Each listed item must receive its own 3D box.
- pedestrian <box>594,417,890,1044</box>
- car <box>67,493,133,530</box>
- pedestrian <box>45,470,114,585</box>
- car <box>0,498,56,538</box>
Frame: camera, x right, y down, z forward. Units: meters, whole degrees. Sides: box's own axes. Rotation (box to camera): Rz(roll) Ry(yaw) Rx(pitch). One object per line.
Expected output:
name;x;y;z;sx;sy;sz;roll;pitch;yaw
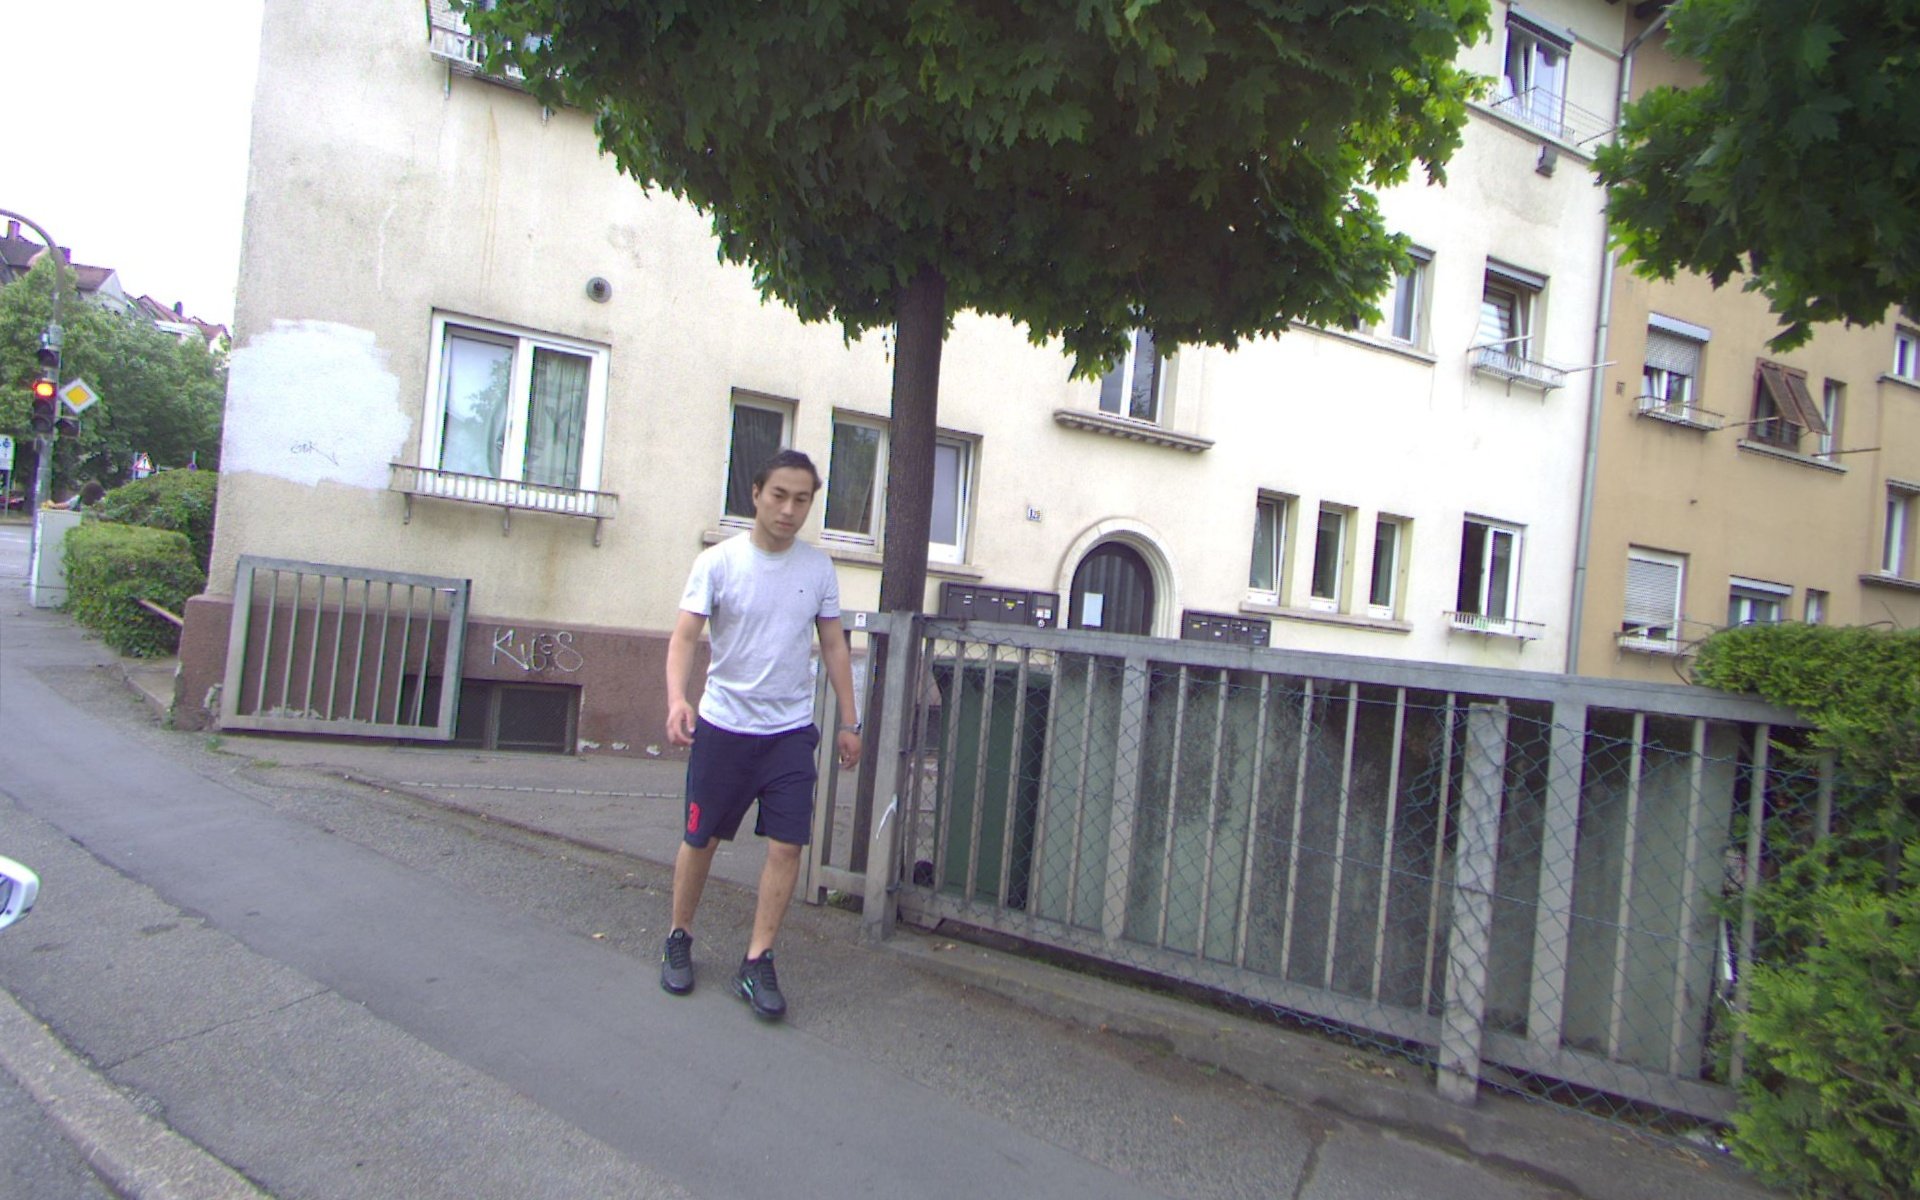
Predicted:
pedestrian;-0.675;0.364;3.213;0.459;1.761;0.693;7;3;29
car;-62.951;-6.435;73.750;1.971;2.036;3.989;9;-3;-16
pedestrian;-14.963;-1.233;17.091;0.581;1.840;0.529;7;-2;32
car;-60.908;-5.357;64.956;1.970;2.036;3.992;8;-3;-15
